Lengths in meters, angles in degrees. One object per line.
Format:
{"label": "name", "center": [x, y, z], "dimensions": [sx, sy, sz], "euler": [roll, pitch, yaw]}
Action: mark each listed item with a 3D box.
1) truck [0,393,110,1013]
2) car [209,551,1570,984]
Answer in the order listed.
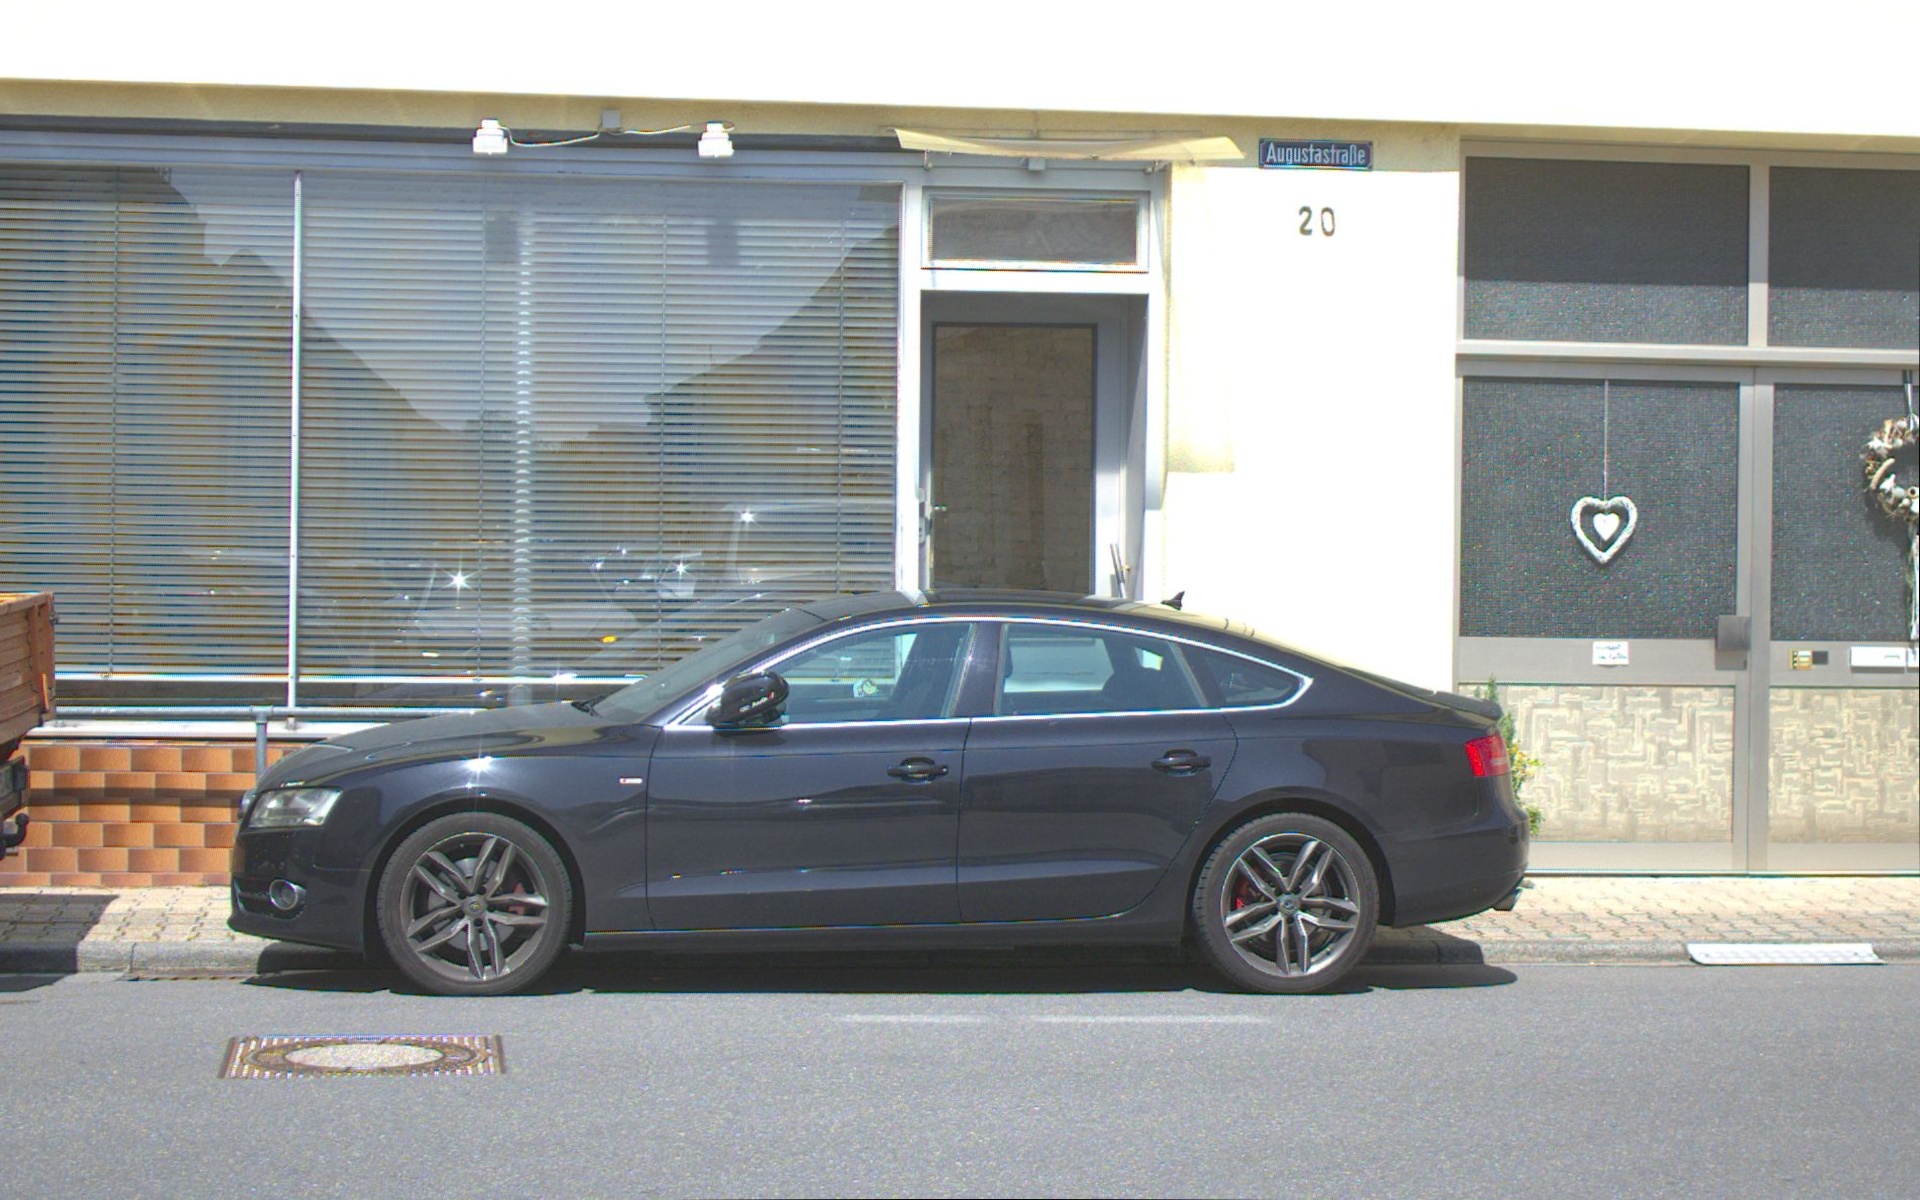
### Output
{"label": "truck", "center": [-5.698, 0.265, 11.934], "dimensions": [5.062, 2.007, 2.190], "euler": [1, 0, -7]}
{"label": "car", "center": [-0.307, 0.617, 12.587], "dimensions": [4.615, 1.389, 1.928], "euler": [1, -2, -8]}
